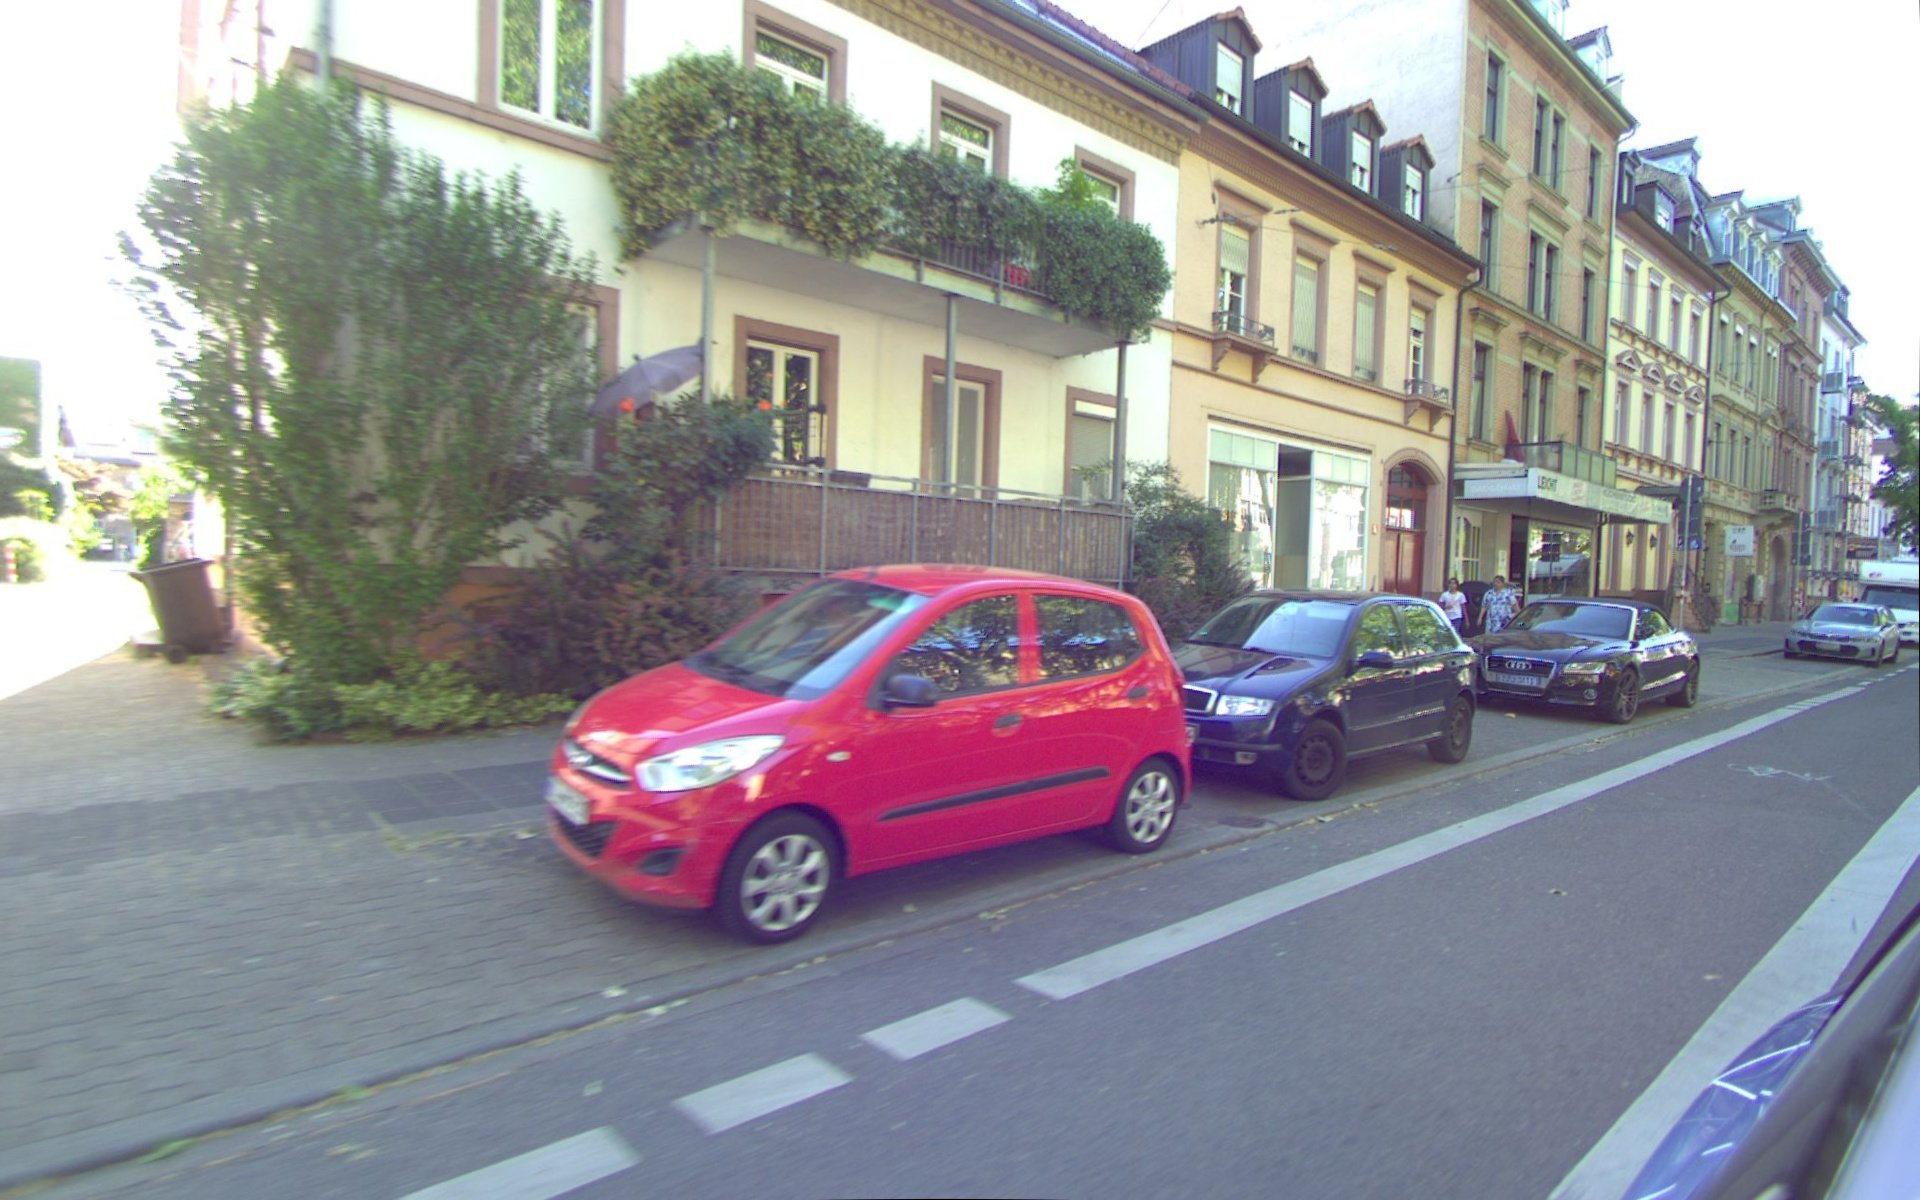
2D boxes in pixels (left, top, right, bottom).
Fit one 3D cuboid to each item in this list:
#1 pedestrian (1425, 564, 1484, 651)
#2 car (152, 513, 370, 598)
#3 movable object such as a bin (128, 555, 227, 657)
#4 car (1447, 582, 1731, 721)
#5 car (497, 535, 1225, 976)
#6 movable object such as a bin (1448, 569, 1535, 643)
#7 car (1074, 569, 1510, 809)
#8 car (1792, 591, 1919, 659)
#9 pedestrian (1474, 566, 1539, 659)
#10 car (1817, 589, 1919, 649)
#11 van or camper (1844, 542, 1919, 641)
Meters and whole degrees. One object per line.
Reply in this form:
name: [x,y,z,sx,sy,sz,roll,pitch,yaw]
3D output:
pedestrian: [8.844,0.115,18.104,0.772,1.501,0.659,0,2,-41]
car: [-14.102,-0.882,20.486,3.512,1.565,1.623,0,3,-40]
movable object such as a bin: [-8.417,0.041,10.888,0.781,1.039,0.629,-2,3,-42]
car: [8.116,0.537,12.902,4.414,1.409,1.698,0,4,-40]
car: [-0.362,0.519,5.382,3.512,1.565,1.639,0,3,-40]
movable object such as a bin: [11.709,0.115,22.294,1.263,1.539,1.296,0,2,-40]
car: [2.871,0.549,8.372,3.800,1.474,1.655,0,4,-41]
car: [22.535,0.560,25.380,4.584,1.452,1.814,0,4,-41]
pedestrian: [9.427,0.200,17.456,0.851,1.523,0.661,0,3,-41]
car: [26.226,0.496,29.097,3.957,1.450,1.650,0,6,-40]
van or camper: [33.050,-0.289,34.856,7.743,3.006,2.485,0,6,-40]
